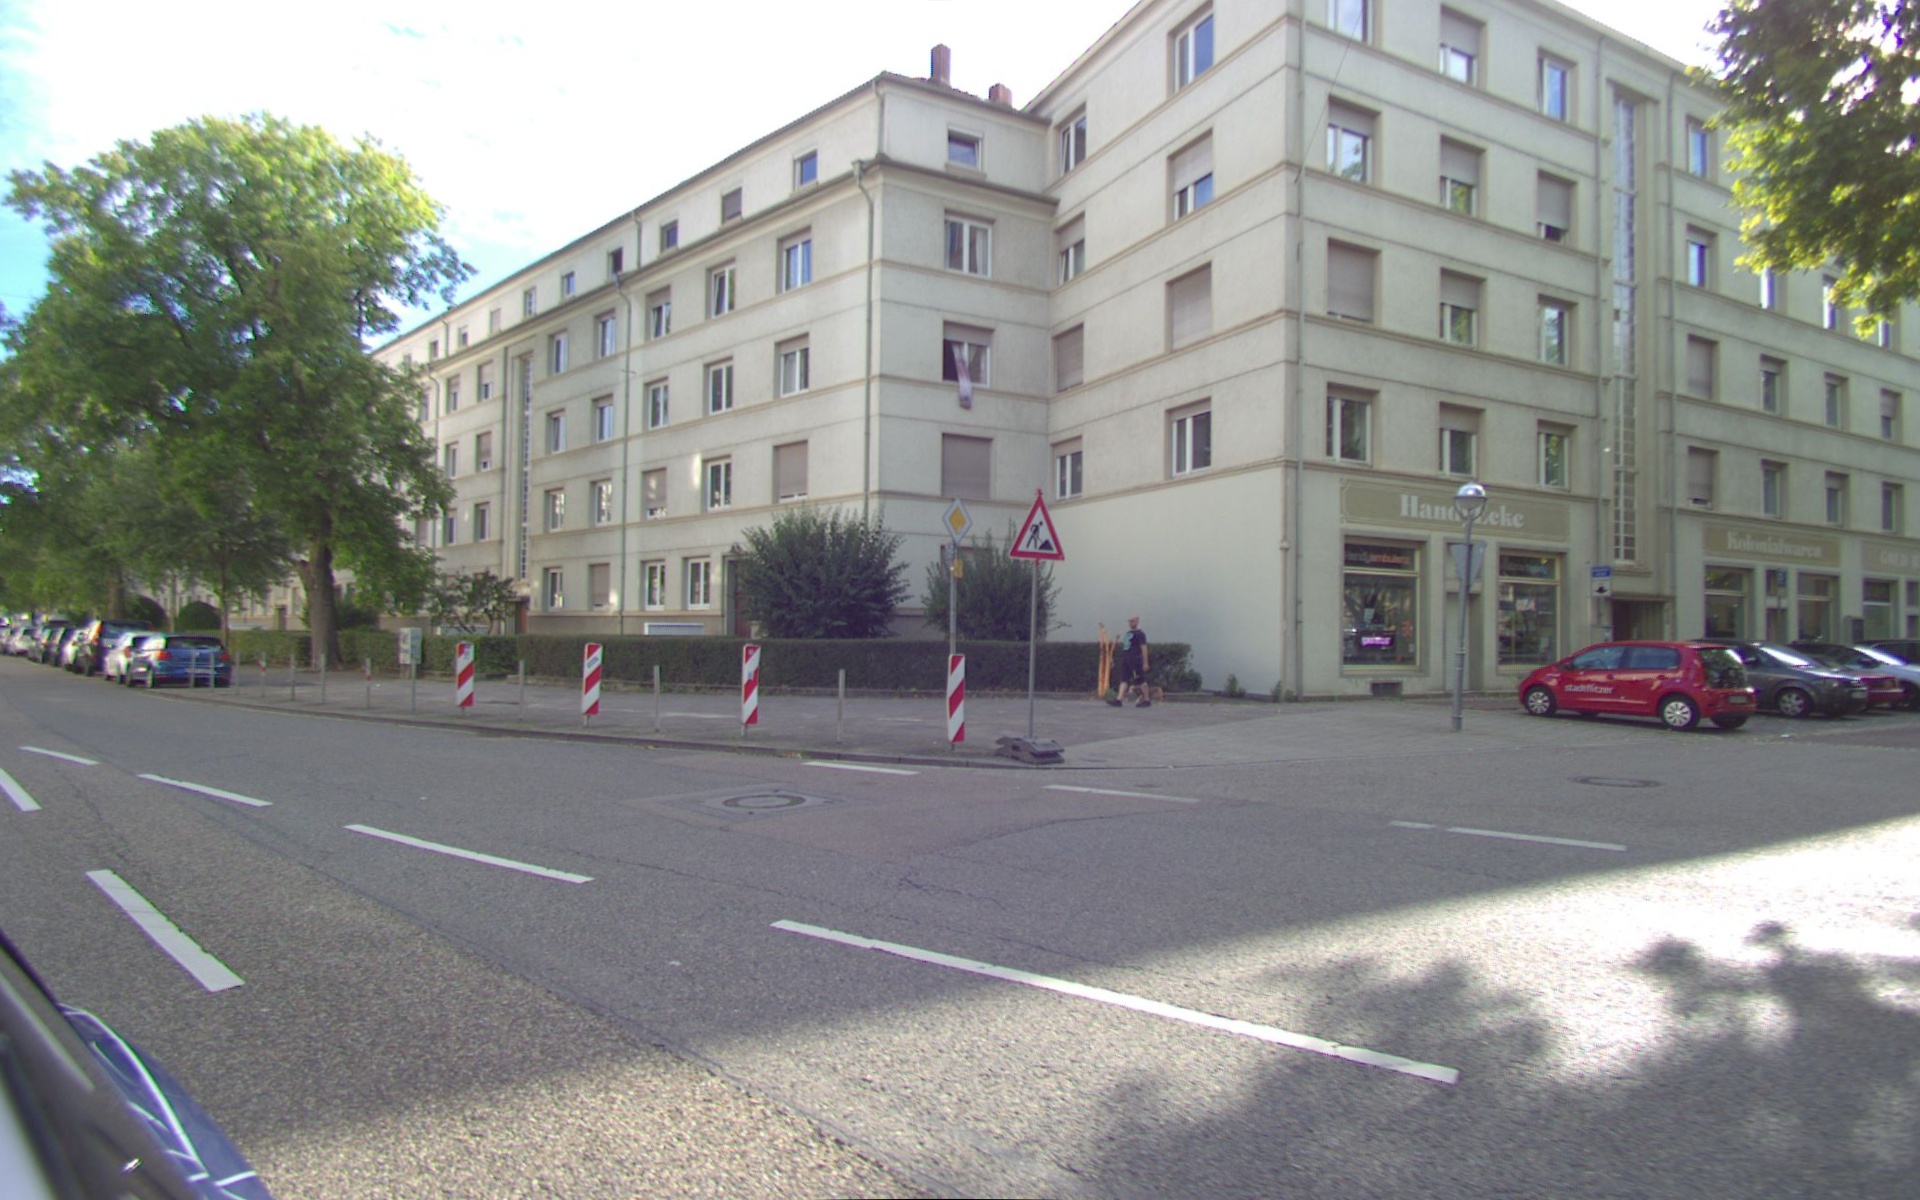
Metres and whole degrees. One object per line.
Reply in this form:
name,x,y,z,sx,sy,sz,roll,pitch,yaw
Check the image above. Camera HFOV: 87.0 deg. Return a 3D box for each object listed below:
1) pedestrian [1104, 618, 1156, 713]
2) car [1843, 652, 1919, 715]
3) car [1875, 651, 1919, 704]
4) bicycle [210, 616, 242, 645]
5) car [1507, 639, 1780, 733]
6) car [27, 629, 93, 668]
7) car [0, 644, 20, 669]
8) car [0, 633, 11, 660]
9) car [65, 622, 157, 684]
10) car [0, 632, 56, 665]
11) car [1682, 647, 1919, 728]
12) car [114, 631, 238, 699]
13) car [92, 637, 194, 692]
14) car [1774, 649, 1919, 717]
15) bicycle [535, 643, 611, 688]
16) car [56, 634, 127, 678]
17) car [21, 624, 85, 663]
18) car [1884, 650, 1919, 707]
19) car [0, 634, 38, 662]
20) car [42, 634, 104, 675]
pedestrian,2.952,1.123,17.544,0.728,1.590,0.728,-1,-3,23
car,21.194,1.765,21.309,1.623,1.314,3.570,2,-3,-31
car,25.481,1.963,25.272,1.623,1.314,3.570,2,-3,-31
bicycle,-52.401,2.161,72.217,2.917,2.029,1.251,-2,-2,42
car,11.996,1.434,18.033,1.568,1.489,3.718,1,-2,-26
car,-37.800,2.041,42.473,3.848,1.498,1.681,-2,-6,44
car,-59.525,3.455,62.682,1.665,1.492,4.455,7,-6,-44
car,-67.314,3.167,70.079,4.969,1.807,1.857,-2,-5,42
car,-27.900,1.731,33.200,4.191,1.897,1.704,-2,-5,43
car,-48.067,2.498,52.163,3.993,1.632,1.720,-2,-3,42
car,16.649,1.636,19.874,1.568,1.377,3.718,1,-2,-23
car,-20.408,1.675,26.292,3.801,1.632,1.780,-2,-5,41
car,-23.856,1.865,29.513,3.804,1.505,1.779,-2,-6,44
car,19.121,1.664,20.625,1.623,1.314,3.570,2,-3,-31
bicycle,-10.389,1.737,27.190,0.597,1.140,1.848,-2,-3,39
car,-31.607,2.013,36.776,1.674,1.504,4.336,4,-5,-43
car,-41.752,2.012,46.536,4.483,1.681,1.779,-2,-6,44
car,23.713,1.828,23.071,1.623,1.314,3.570,2,-3,-31
car,-51.575,2.621,55.135,4.013,1.479,1.596,-2,-4,43
car,-34.844,2.139,39.737,3.017,1.532,1.535,-2,-6,44
